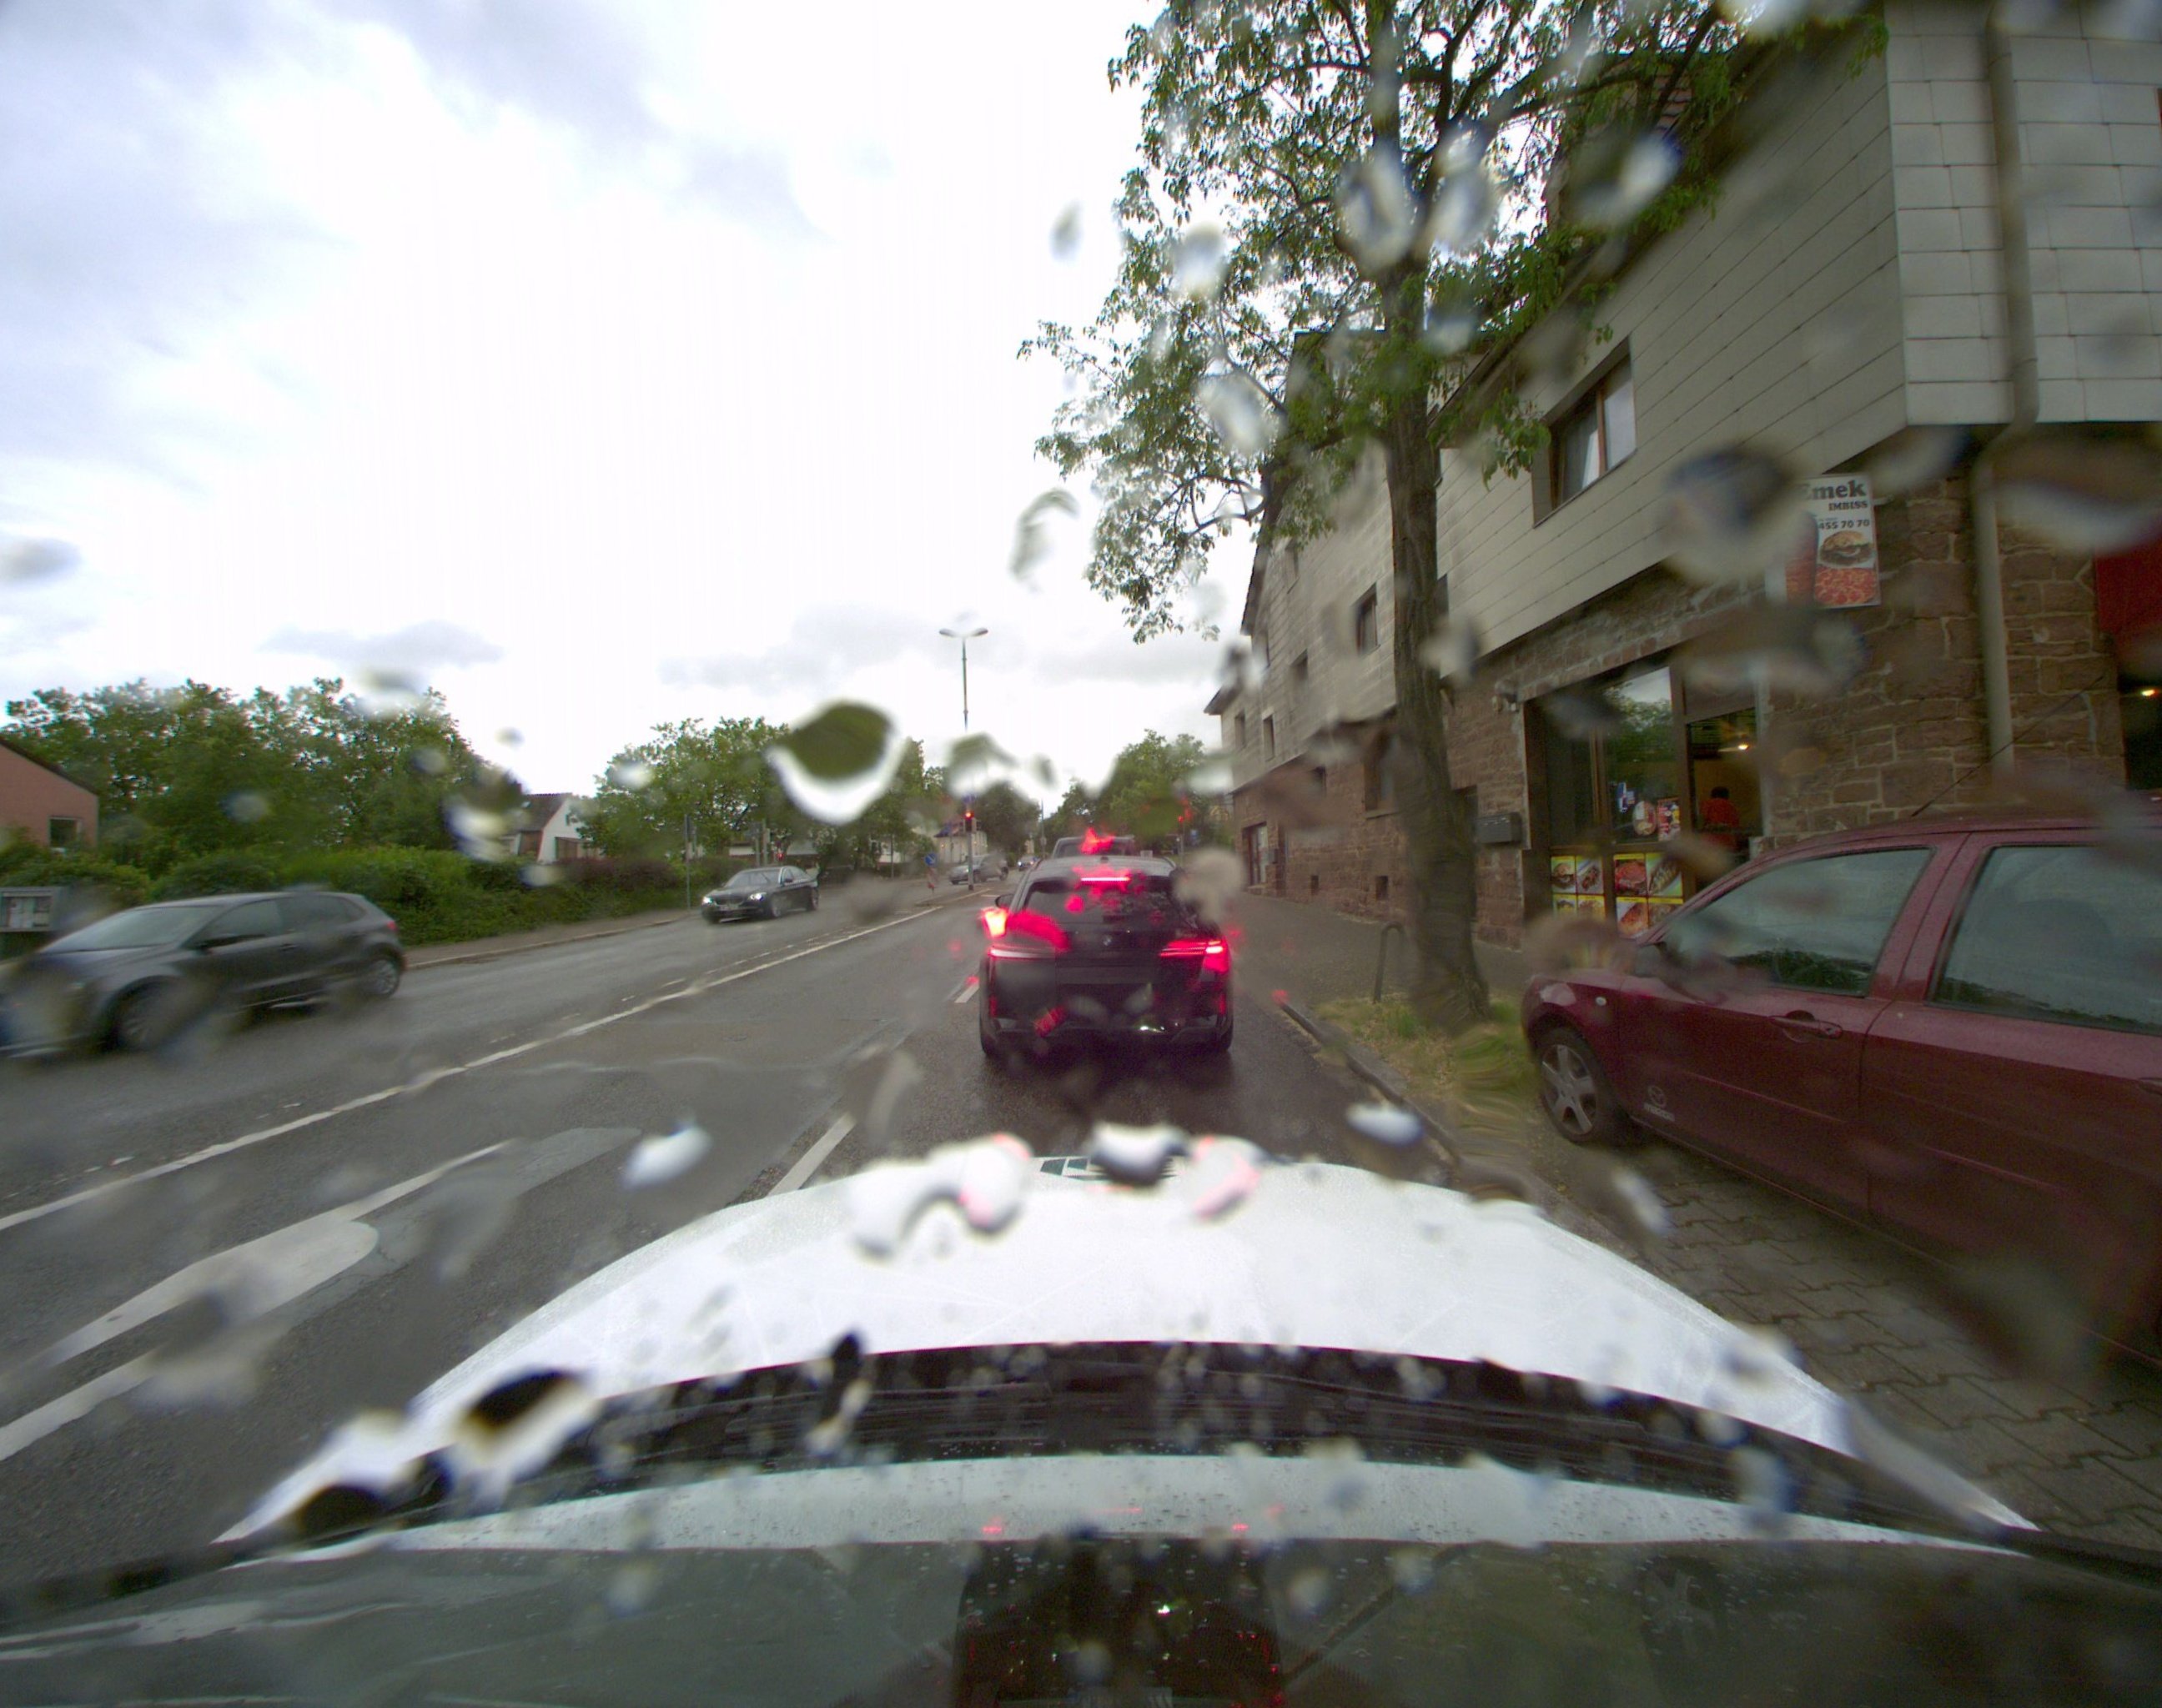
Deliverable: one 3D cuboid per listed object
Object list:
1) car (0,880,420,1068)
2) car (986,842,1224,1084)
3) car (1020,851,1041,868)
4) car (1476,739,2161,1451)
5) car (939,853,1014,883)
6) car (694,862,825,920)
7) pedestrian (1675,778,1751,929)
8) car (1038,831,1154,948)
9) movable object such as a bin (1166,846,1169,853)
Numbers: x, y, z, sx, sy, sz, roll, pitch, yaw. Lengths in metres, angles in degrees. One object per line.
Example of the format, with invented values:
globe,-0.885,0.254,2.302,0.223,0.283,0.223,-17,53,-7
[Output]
car,-9.485,1.092,8.703,1.589,1.428,3.904,-3,0,0
car,0.126,0.711,7.003,1.519,1.534,3.530,0,-1,-1
car,-5.165,0.554,83.880,1.893,1.577,4.500,-2,1,-1
car,3.067,0.539,2.717,1.606,1.504,3.754,0,-2,-1
car,-6.232,0.825,48.853,1.889,1.590,4.345,-3,0,37
car,-9.233,0.998,23.889,1.905,1.454,4.946,-2,-1,-1
pedestrian,7.123,-0.007,9.191,0.490,1.660,0.455,0,-1,1
car,0.203,0.565,14.618,1.807,1.809,3.754,0,-1,-1
movable object such as a bin,12.246,-0.618,115.192,0.446,0.906,0.465,-1,-1,17
